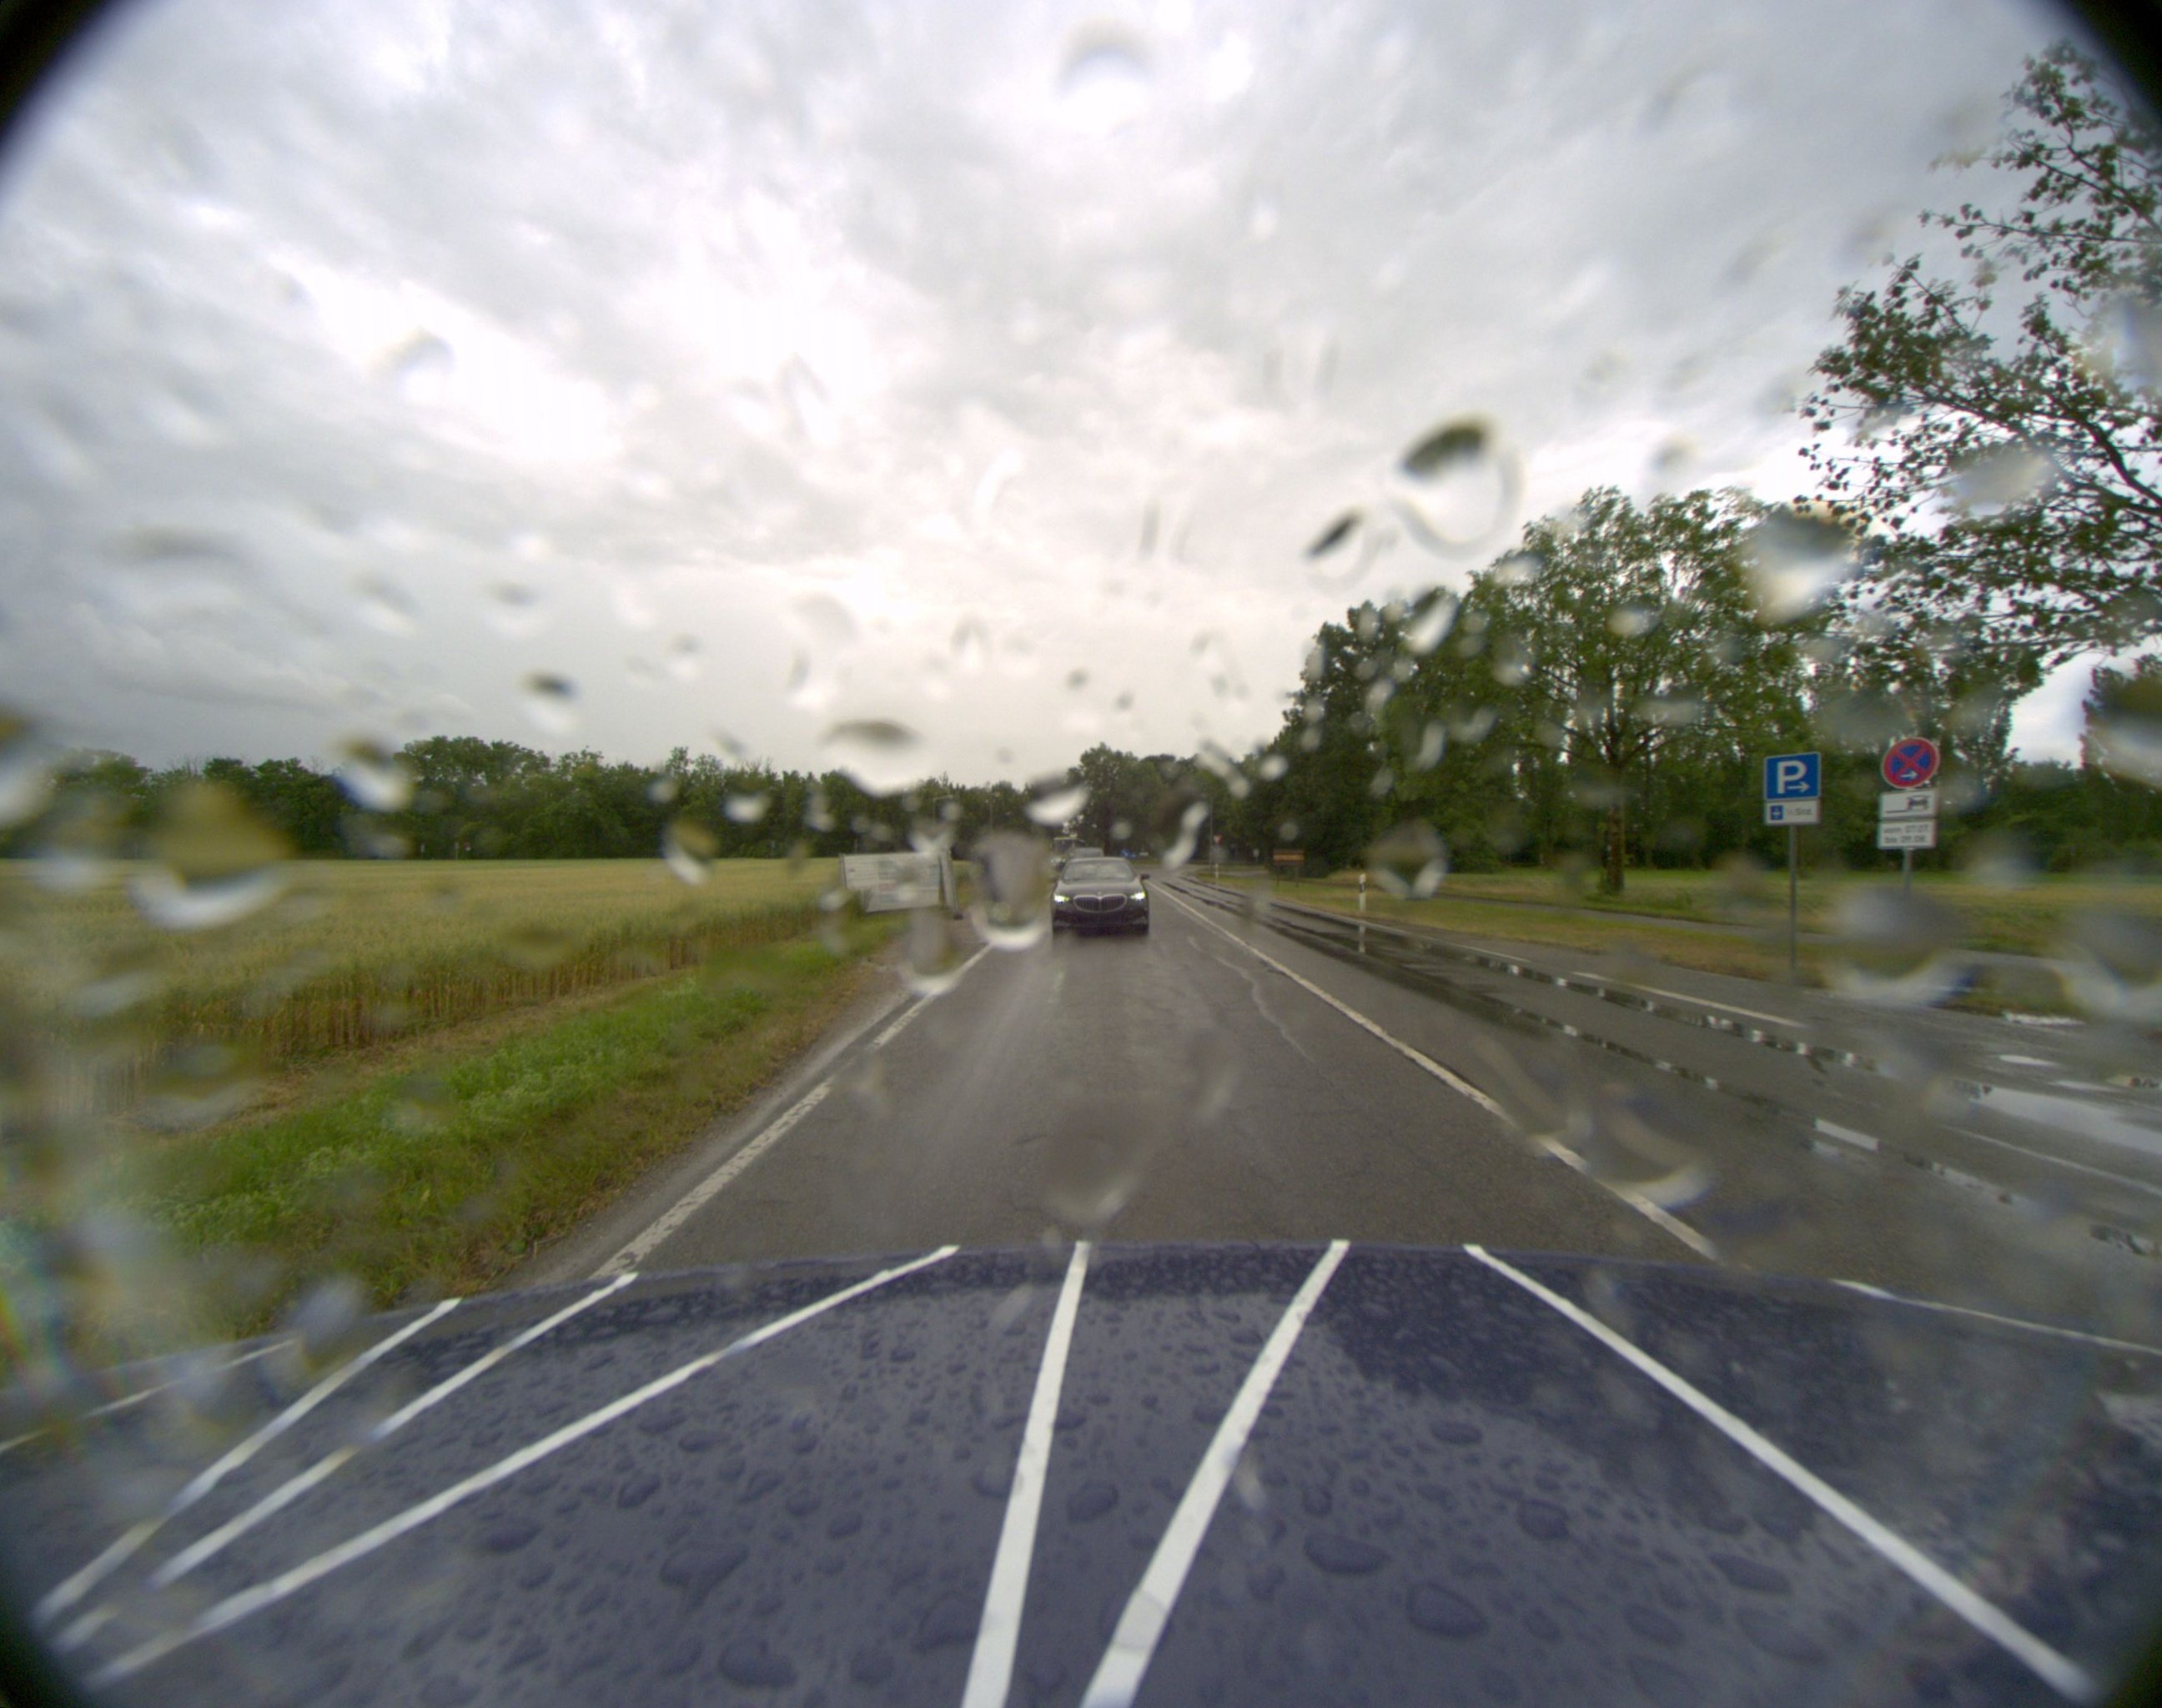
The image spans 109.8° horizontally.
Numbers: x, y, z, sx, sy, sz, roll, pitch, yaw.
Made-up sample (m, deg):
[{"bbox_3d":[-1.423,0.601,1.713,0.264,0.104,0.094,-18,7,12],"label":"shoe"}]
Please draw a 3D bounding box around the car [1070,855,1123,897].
[{"bbox_3d":[0.579,0.813,29.964,1.892,1.482,4.192,-2,0,0],"label":"car"}]

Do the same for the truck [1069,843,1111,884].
[{"bbox_3d":[0.436,0.474,43.689,2.076,2.050,5.766,-2,2,-2],"label":"truck"}]

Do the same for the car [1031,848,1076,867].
[{"bbox_3d":[-2.401,0.320,65.356,1.896,1.522,4.491,-2,0,-30],"label":"car"}]

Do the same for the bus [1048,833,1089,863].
[{"bbox_3d":[-1.448,-0.801,100.320,2.993,3.665,14.304,1,0,9],"label":"bus"}]

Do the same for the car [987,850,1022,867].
[{"bbox_3d":[-7.460,0.447,74.118,1.895,1.522,4.492,-2,0,-26],"label":"car"}]

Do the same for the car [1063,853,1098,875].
[{"bbox_3d":[-0.121,0.726,57.513,1.893,1.522,5.251,-2,0,-8],"label":"car"}]

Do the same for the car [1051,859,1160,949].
[{"bbox_3d":[0.453,0.894,15.416,1.891,1.484,4.035,-1,0,1],"label":"car"}]
